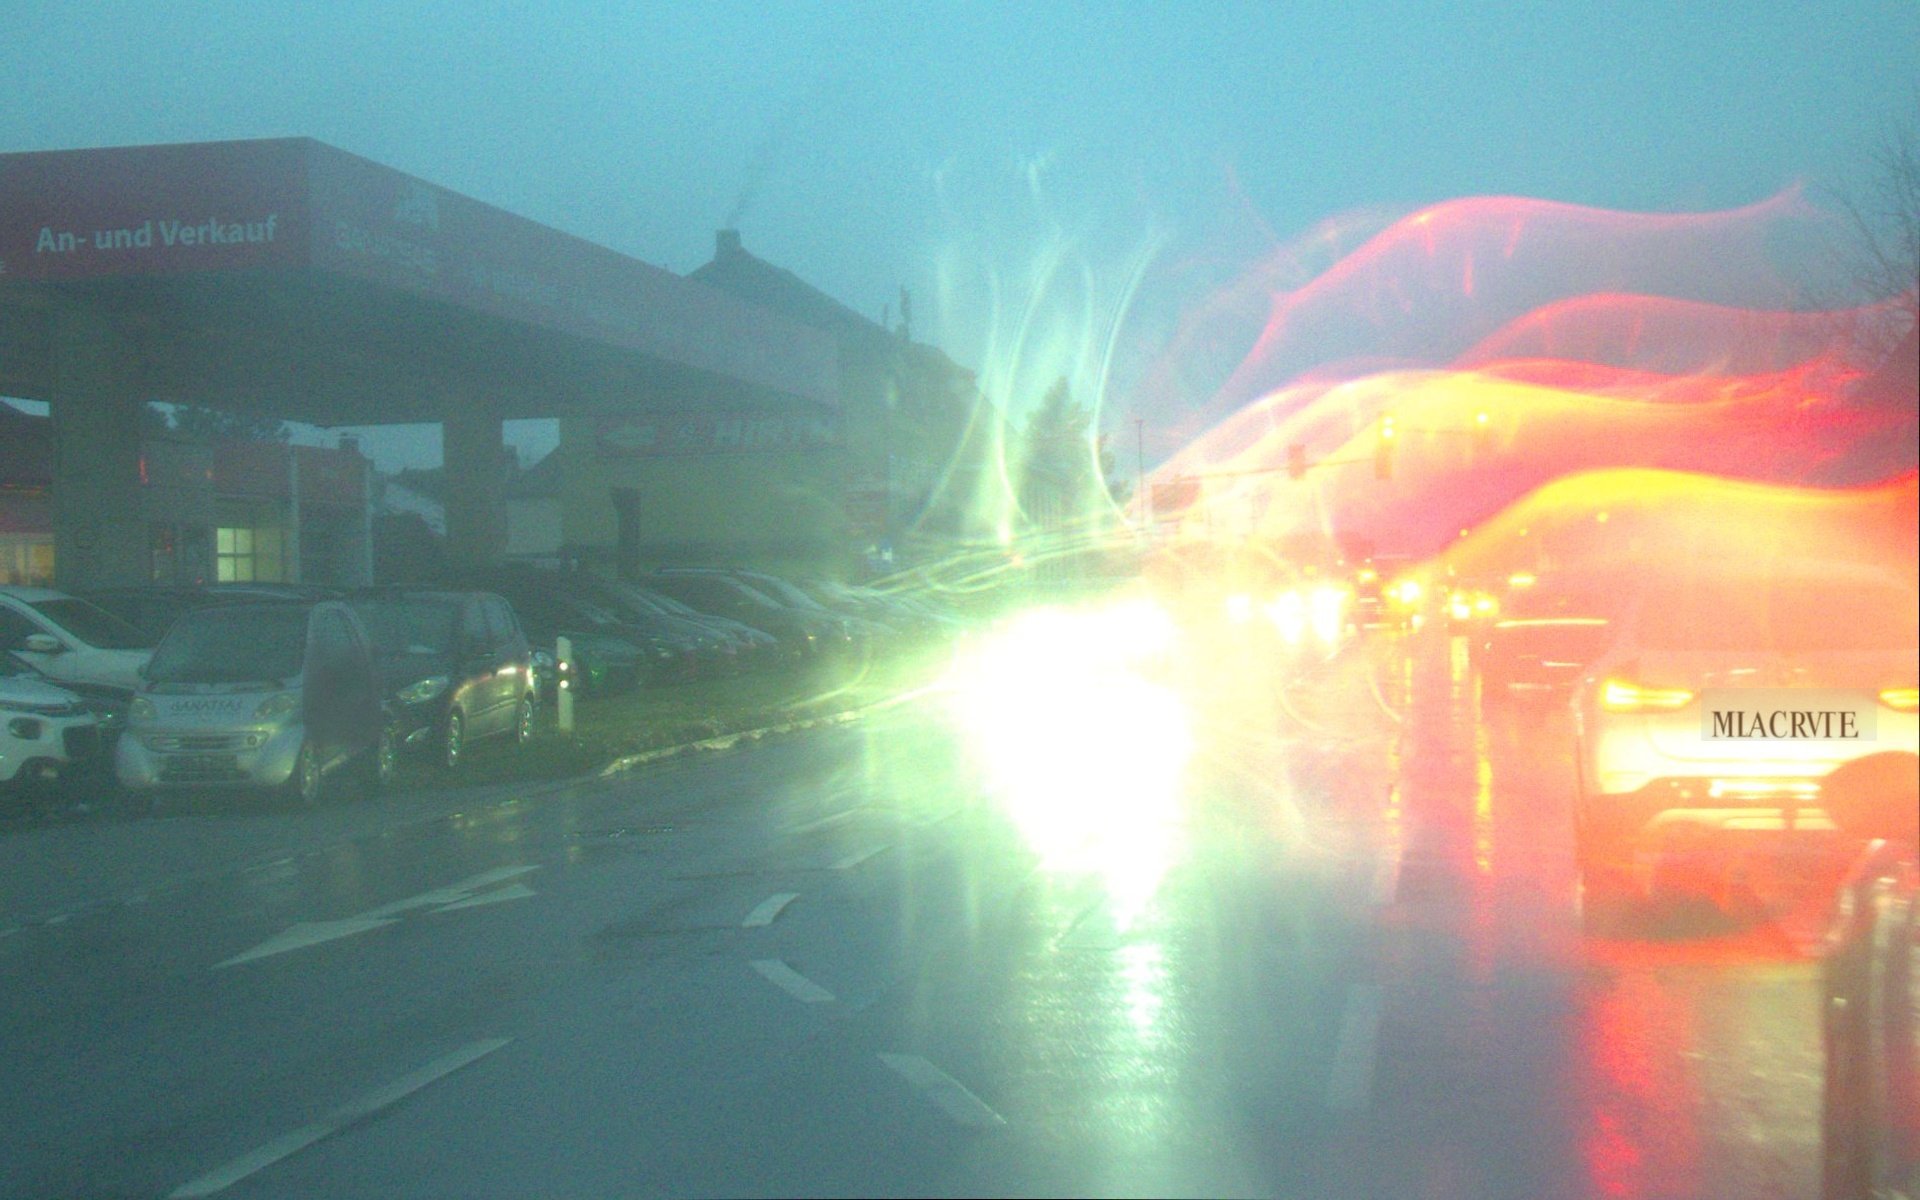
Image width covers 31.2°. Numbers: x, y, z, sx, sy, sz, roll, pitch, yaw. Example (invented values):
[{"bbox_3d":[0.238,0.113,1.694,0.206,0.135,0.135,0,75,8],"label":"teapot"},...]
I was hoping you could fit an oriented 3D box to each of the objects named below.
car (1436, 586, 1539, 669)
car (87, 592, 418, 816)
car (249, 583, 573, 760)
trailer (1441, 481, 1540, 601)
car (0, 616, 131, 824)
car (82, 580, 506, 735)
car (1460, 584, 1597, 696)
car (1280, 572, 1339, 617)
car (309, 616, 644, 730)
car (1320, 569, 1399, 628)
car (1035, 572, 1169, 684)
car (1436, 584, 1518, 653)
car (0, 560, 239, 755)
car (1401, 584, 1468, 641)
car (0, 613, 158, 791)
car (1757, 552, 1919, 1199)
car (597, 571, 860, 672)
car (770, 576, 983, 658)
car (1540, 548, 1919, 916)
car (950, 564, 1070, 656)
[{"bbox_3d":[8.959,0.452,58.641,1.654,1.331,4.271,-1,0,8],"label":"car"},{"bbox_3d":[-5.344,0.749,26.298,1.518,1.538,3.014,-2,0,8],"label":"car"},{"bbox_3d":[-4.754,0.588,30.268,1.683,1.416,3.739,-1,0,10],"label":"car"},{"bbox_3d":[15.213,-1.619,99.105,2.488,3.230,10.865,0,0,7],"label":"trailer"},{"bbox_3d":[-8.306,0.857,25.620,3.772,1.454,1.776,0,1,5],"label":"car"},{"bbox_3d":[-6.991,0.580,36.306,4.032,1.549,1.823,0,1,8],"label":"car"},{"bbox_3d":[7.329,0.488,44.617,1.641,1.362,4.767,-1,0,8],"label":"car"},{"bbox_3d":[14.367,-0.230,141.323,1.994,1.740,3.998,-3,0,11],"label":"car"},{"bbox_3d":[-6.113,0.920,43.707,3.859,1.341,1.839,-1,0,7],"label":"car"},{"bbox_3d":[11.359,-0.042,98.082,2.047,1.567,4.702,-2,0,5],"label":"car"},{"bbox_3d":[2.168,0.391,51.567,1.603,1.529,3.999,-3,0,7],"label":"car"},{"bbox_3d":[12.115,0.418,80.712,1.837,1.563,4.502,0,0,8],"label":"car"},{"bbox_3d":[-8.687,0.510,30.439,4.049,1.644,1.941,-1,0,10],"label":"car"},{"bbox_3d":[12.165,0.314,88.264,1.663,1.434,4.380,0,0,7],"label":"car"},{"bbox_3d":[-8.616,0.782,27.564,3.859,1.341,1.839,0,0,7],"label":"car"},{"bbox_3d":[2.171,0.684,5.120,1.565,1.524,4.005,-1,0,8],"label":"car"},{"bbox_3d":[-4.072,0.362,60.739,4.278,1.657,1.999,1,1,8],"label":"car"},{"bbox_3d":[-1.779,0.353,74.021,4.278,1.622,1.999,1,1,8],"label":"car"},{"bbox_3d":[3.811,0.549,17.028,1.708,1.570,4.463,-1,0,8],"label":"car"},{"bbox_3d":[1.117,0.187,73.865,1.971,1.824,4.511,-2,0,8],"label":"car"}]
